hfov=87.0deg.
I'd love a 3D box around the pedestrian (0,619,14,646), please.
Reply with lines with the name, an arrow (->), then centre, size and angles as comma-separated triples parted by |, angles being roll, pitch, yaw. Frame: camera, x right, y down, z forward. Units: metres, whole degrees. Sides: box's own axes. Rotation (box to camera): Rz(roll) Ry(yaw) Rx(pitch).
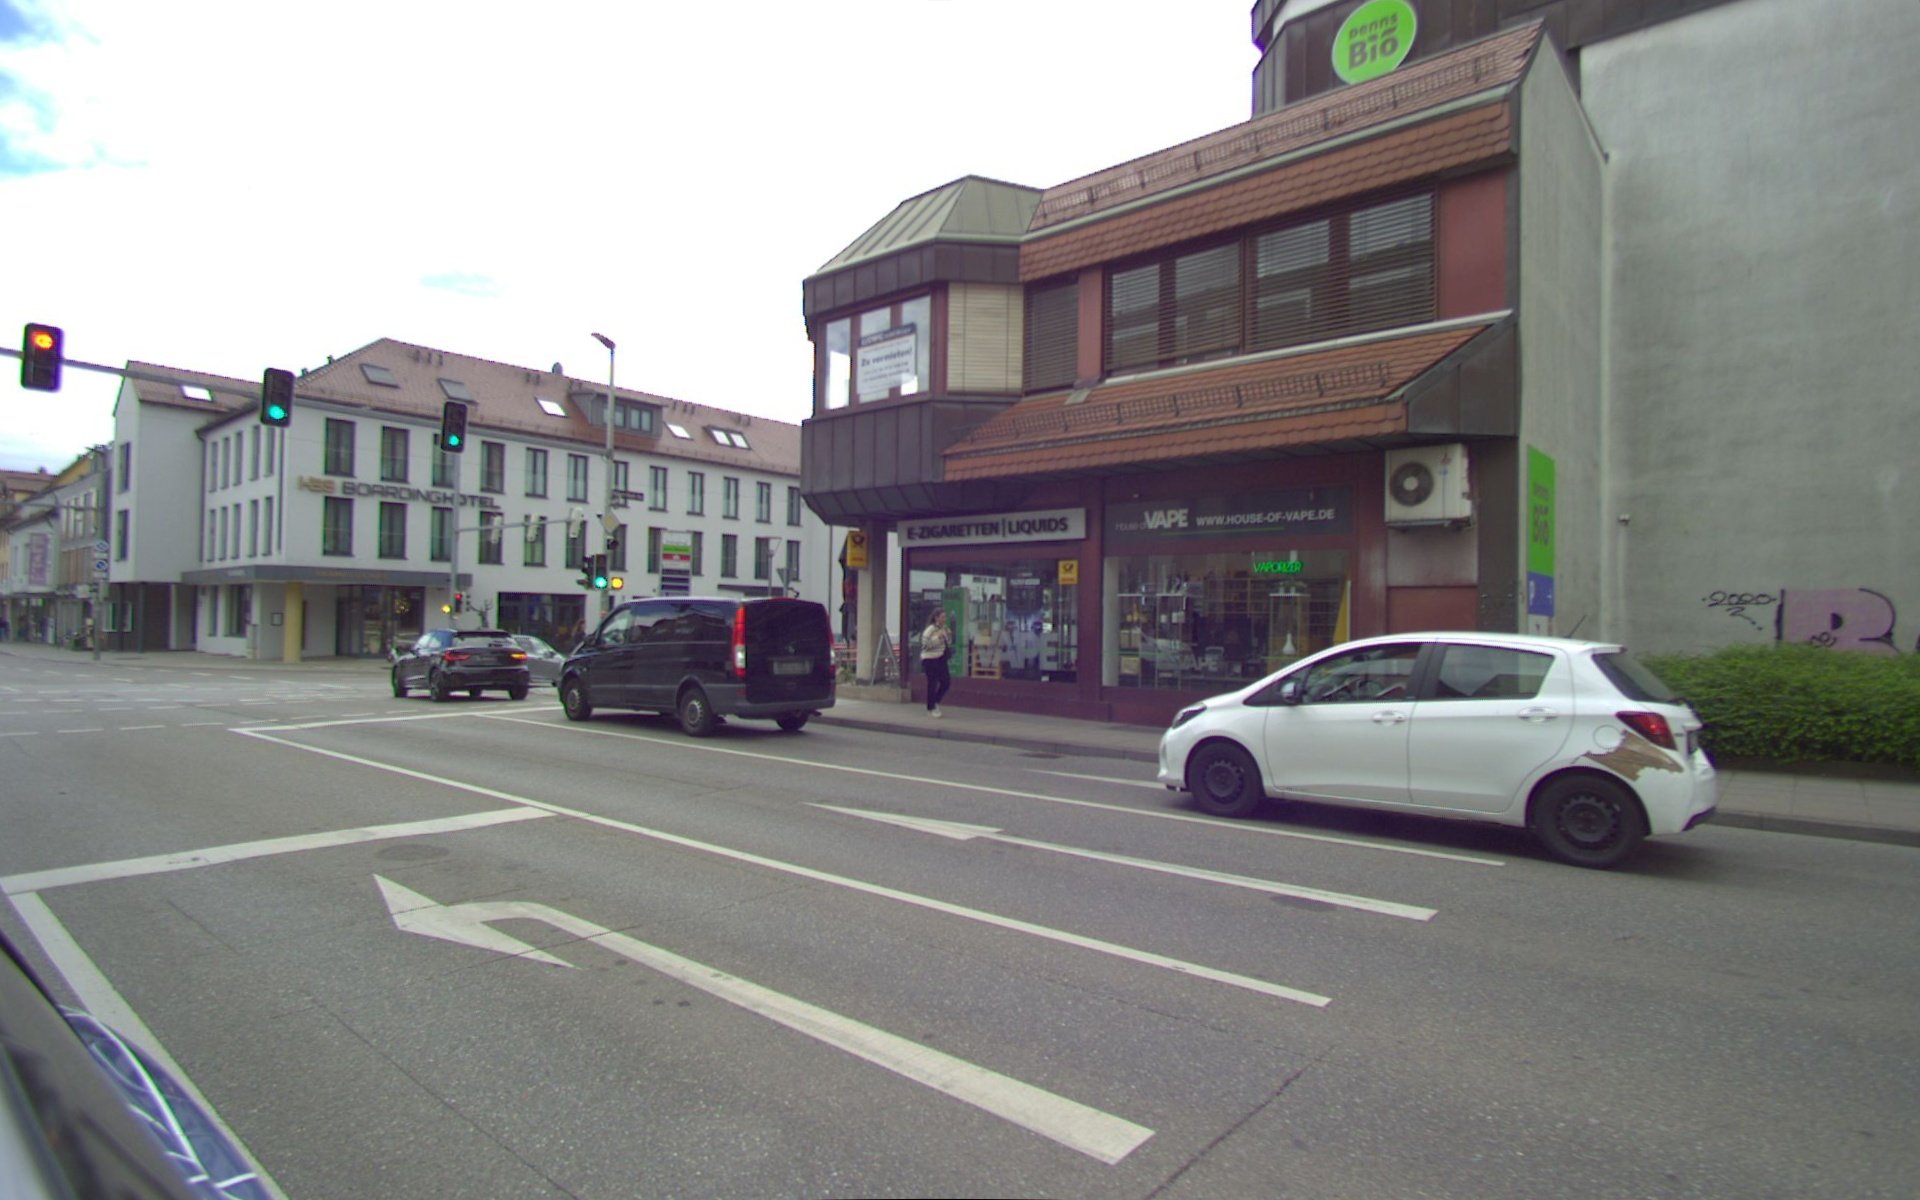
pedestrian -> -63.883, 2.187, 67.762 | 0.870, 1.795, 0.699 | -1, -3, 42

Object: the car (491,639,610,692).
car -> -12.906, 2.064, 32.226 | 1.741, 1.529, 4.381 | 0, -3, 4

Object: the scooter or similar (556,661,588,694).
scooter or similar -> -8.981, 1.781, 23.420 | 0.537, 0.732, 0.450 | -1, -2, 33

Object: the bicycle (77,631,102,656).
bicycle -> -43.139, 2.147, 50.126 | 2.117, 1.241, 0.576 | -1, -2, 40

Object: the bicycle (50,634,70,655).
bicycle -> -48.338, 2.385, 54.337 | 1.901, 1.109, 0.566 | -1, -2, 41

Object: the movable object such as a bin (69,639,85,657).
movable object such as a bin -> -45.169, 2.432, 51.753 | 0.506, 0.906, 0.545 | -1, -2, 39

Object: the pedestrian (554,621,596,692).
pedestrian -> -9.633, 1.409, 25.309 | 0.799, 1.727, 0.704 | 1, -3, -37

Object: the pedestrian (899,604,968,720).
pedestrian -> -0.401, 0.936, 15.502 | 0.776, 1.706, 0.742 | -1, -3, 36

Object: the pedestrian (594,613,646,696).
pedestrian -> -7.639, 1.212, 22.760 | 0.773, 1.822, 0.803 | -1, -2, 33

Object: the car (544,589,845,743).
car -> -4.047, 0.900, 14.935 | 4.896, 1.924, 1.846 | -1, -3, 41

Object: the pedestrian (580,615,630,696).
pedestrian -> -8.201, 1.256, 23.378 | 0.744, 1.822, 0.803 | -1, -2, 33

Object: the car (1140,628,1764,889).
car -> 3.539, 0.972, 7.731 | 3.998, 1.476, 1.643 | -1, -3, 41

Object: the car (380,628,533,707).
car -> -10.446, 1.314, 20.876 | 1.682, 1.454, 4.003 | 2, -2, -44

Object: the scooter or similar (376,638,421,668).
scooter or similar -> -23.205, 2.199, 41.823 | 1.552, 1.167, 0.426 | 3, -2, 0
